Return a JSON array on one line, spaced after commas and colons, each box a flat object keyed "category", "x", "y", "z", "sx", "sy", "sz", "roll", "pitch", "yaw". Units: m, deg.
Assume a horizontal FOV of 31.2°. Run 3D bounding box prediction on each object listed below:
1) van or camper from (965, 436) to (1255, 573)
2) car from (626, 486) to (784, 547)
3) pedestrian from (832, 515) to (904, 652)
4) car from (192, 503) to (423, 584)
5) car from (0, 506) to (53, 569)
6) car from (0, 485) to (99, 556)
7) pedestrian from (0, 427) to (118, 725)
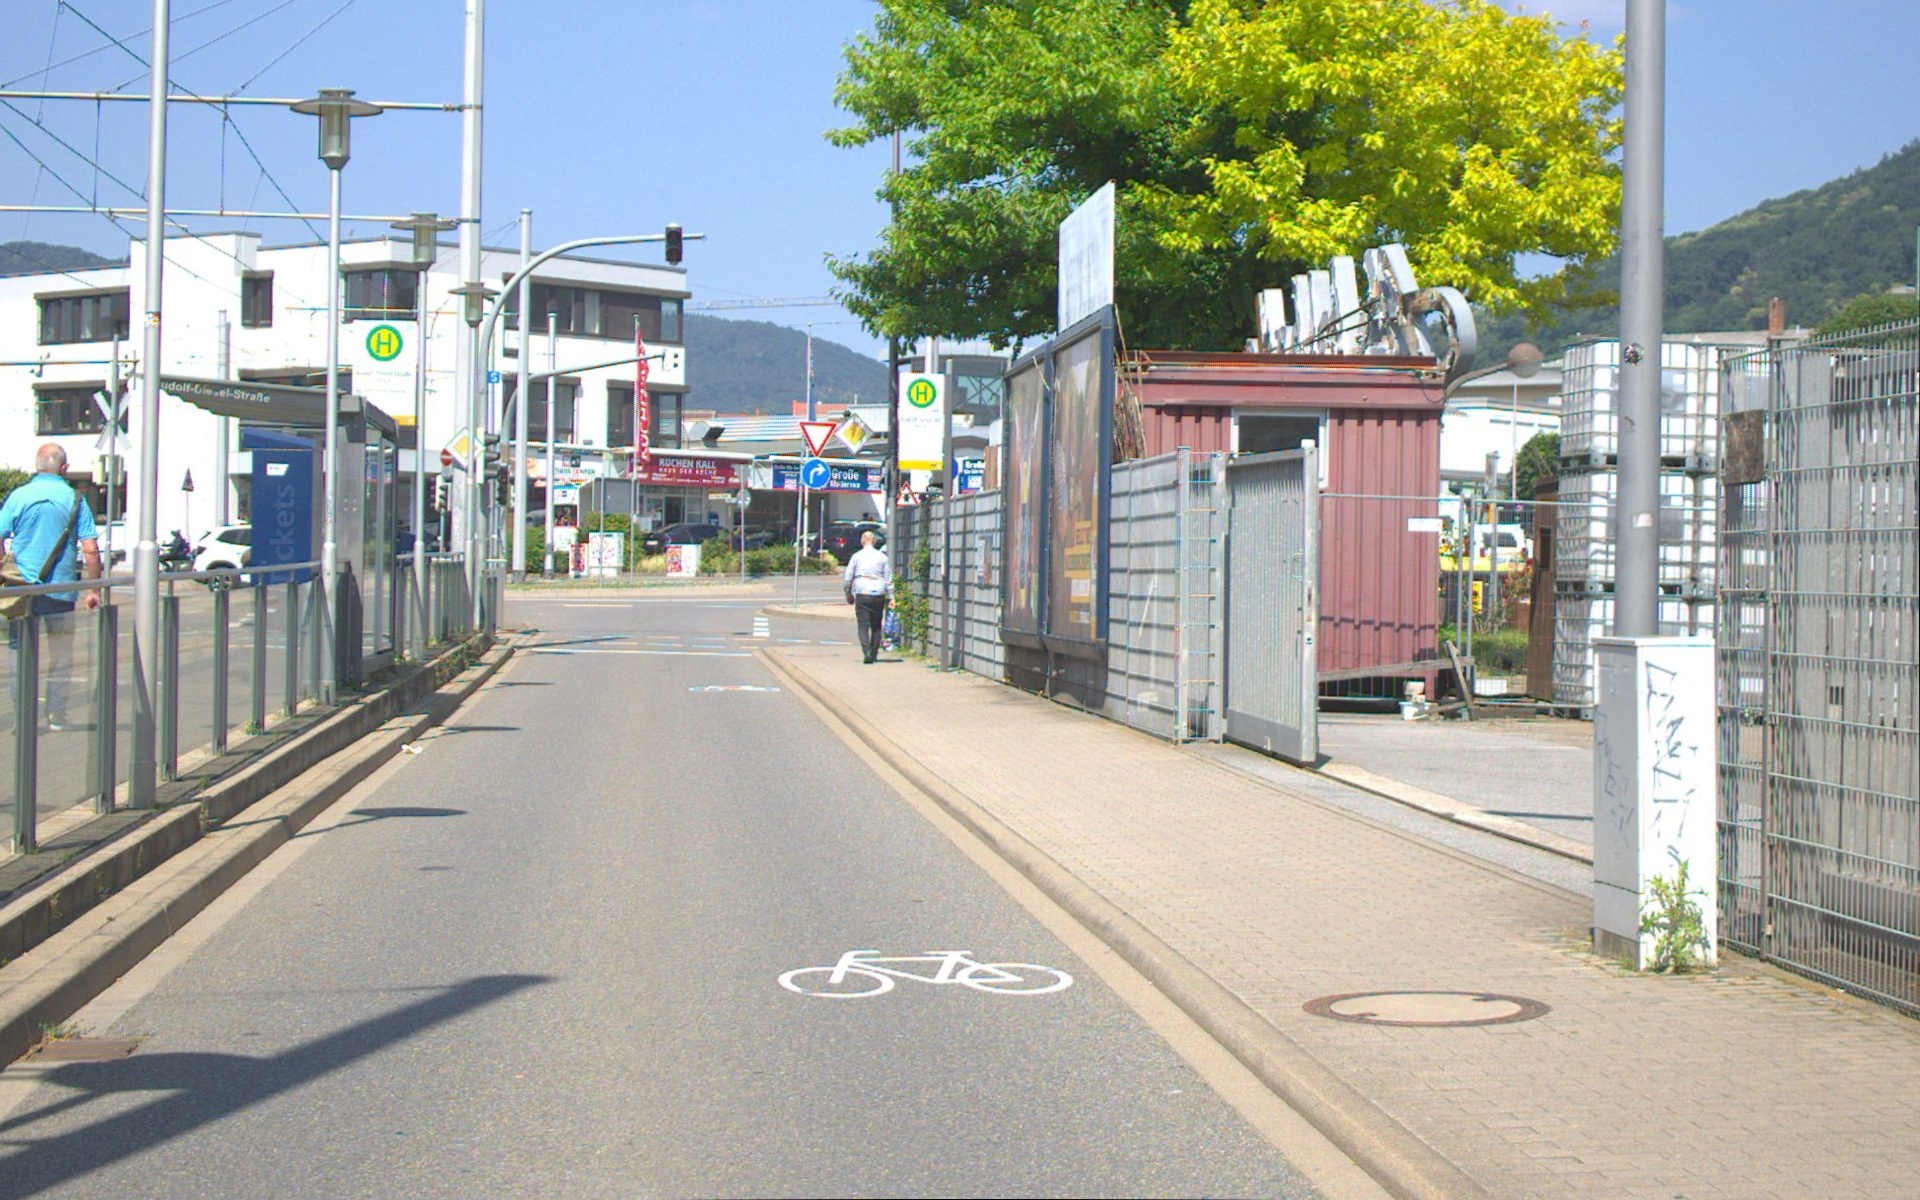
[{"category": "van or camper", "x": 3.041, "y": -1.979, "z": 70.584, "sx": 5.810, "sy": 2.764, "sz": 2.091, "roll": 0, "pitch": 2, "yaw": -2}, {"category": "car", "x": -8.376, "y": -2.751, "z": 113.390, "sx": 1.964, "sy": 1.959, "sz": 5.268, "roll": 2, "pitch": 2, "yaw": 43}, {"category": "pedestrian", "x": -1.157, "y": -0.217, "z": 43.146, "sx": 0.812, "sy": 1.693, "sz": 0.887, "roll": -1, "pitch": 2, "yaw": -7}, {"category": "car", "x": -14.282, "y": -1.256, "z": 75.328, "sx": 4.552, "sy": 1.727, "sz": 1.999, "roll": 1, "pitch": 1, "yaw": 14}, {"category": "car", "x": -26.935, "y": -1.659, "z": 91.830, "sx": 1.954, "sy": 1.659, "sz": 4.899, "roll": 1, "pitch": 2, "yaw": 44}, {"category": "car", "x": -27.325, "y": -2.352, "z": 103.022, "sx": 2.162, "sy": 2.007, "sz": 5.019, "roll": 1, "pitch": 0, "yaw": -24}, {"category": "pedestrian", "x": -5.449, "y": -0.156, "z": 20.390, "sx": 0.724, "sy": 1.718, "sz": 0.945, "roll": 1, "pitch": 2, "yaw": -5}]
